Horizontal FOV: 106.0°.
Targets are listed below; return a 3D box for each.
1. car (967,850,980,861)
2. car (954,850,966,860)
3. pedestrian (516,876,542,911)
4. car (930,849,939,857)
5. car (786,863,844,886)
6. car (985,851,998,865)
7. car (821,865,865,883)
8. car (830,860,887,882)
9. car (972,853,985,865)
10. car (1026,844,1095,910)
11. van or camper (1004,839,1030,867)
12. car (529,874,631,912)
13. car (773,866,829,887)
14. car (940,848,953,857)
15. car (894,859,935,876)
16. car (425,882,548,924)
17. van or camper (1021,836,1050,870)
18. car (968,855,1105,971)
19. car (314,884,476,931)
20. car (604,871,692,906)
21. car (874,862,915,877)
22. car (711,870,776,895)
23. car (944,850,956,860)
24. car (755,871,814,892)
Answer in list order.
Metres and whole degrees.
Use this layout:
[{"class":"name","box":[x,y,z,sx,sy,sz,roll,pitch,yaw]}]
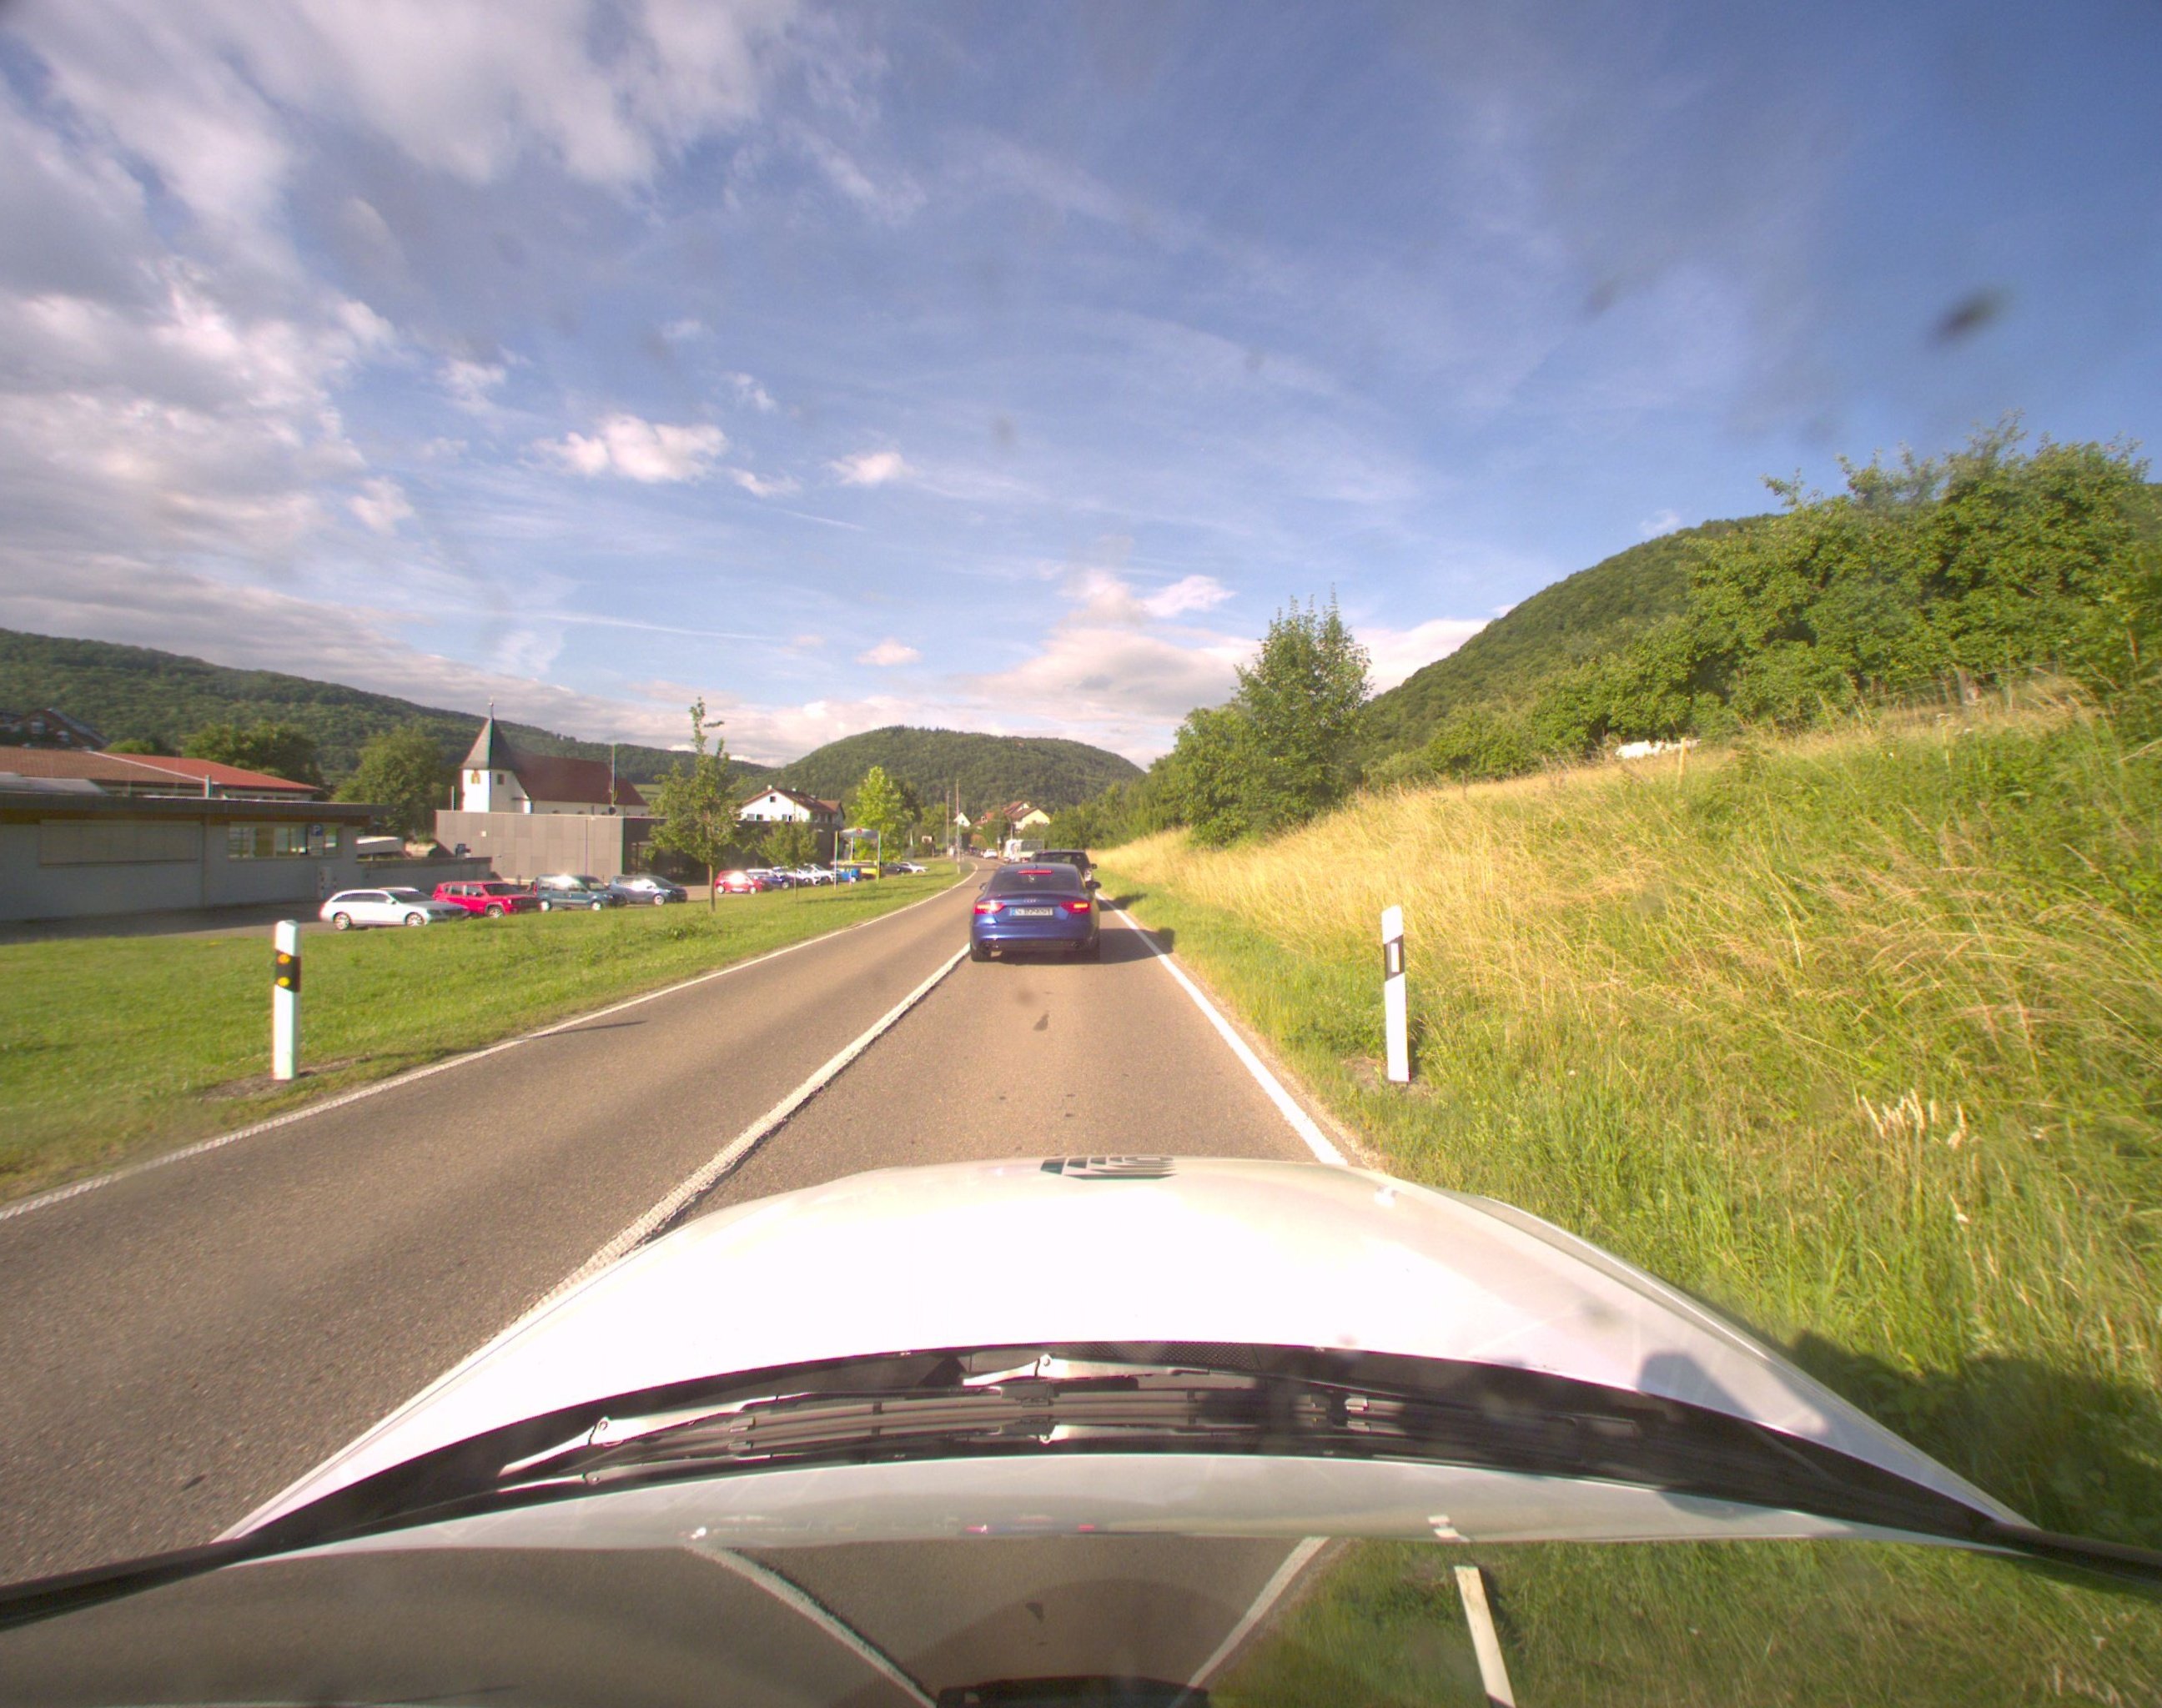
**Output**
[{"class":"car","box":[-19.448,0.292,147.721,1.681,1.924,3.977,-2,0,-16]},{"class":"car","box":[-24.256,0.251,162.592,1.682,1.924,3.975,-2,0,-18]},{"class":"pedestrian","box":[-27.129,1.938,40.020,0.793,1.693,0.704,0,0,-5]},{"class":"car","box":[-35.234,-0.211,196.006,1.681,1.924,3.976,-2,0,-17]},{"class":"car","box":[-21.403,1.631,65.543,4.055,1.672,1.600,-1,2,7]},{"class":"car","box":[-13.047,0.592,118.558,1.660,1.924,3.986,-2,0,-10]},{"class":"car","box":[-20.905,1.744,71.642,3.359,1.373,1.660,-2,0,-1]},{"class":"car","box":[-20.226,1.566,74.164,4.528,1.815,1.845,-2,0,7]},{"class":"car","box":[-16.213,0.788,128.220,1.661,1.924,3.983,-2,0,-12]},{"class":"car","box":[-0.622,0.568,22.011,1.643,1.625,3.511,0,0,-5]},{"class":"van or camper","box":[-6.681,-0.069,85.071,2.280,2.713,5.750,-2,0,-8]},{"class":"car","box":[-24.146,1.875,39.327,3.844,1.722,1.758,0,0,4]},{"class":"car","box":[-21.424,1.730,62.319,3.646,1.493,1.600,-1,1,7]},{"class":"car","box":[-29.570,-0.382,178.945,1.961,1.924,3.973,-2,0,-20]},{"class":"car","box":[-18.099,1.435,88.637,4.014,1.660,1.659,-2,0,7]},{"class":"car","box":[-24.636,2.020,33.806,3.899,1.579,1.759,-1,0,6]},{"class":"van or camper","box":[-3.715,-0.054,65.593,2.049,2.505,5.801,-2,0,-5]},{"class":"car","box":[-0.604,0.758,12.228,1.737,1.450,3.515,-1,0,-1]},{"class":"car","box":[-25.942,2.011,30.879,4.617,1.589,2.003,-1,0,6]},{"class":"car","box":[-23.356,1.859,43.993,3.798,1.722,1.735,-1,0,6]},{"class":"car","box":[-19.276,1.599,84.241,3.692,1.439,1.512,-2,0,7]},{"class":"car","box":[-22.369,1.880,54.033,3.605,1.444,1.652,-2,0,7]},{"class":"car","box":[-27.527,0.267,171.065,1.682,1.924,3.975,-2,0,-18]},{"class":"car","box":[-21.449,1.966,58.972,3.605,1.405,1.600,-1,0,7]}]
